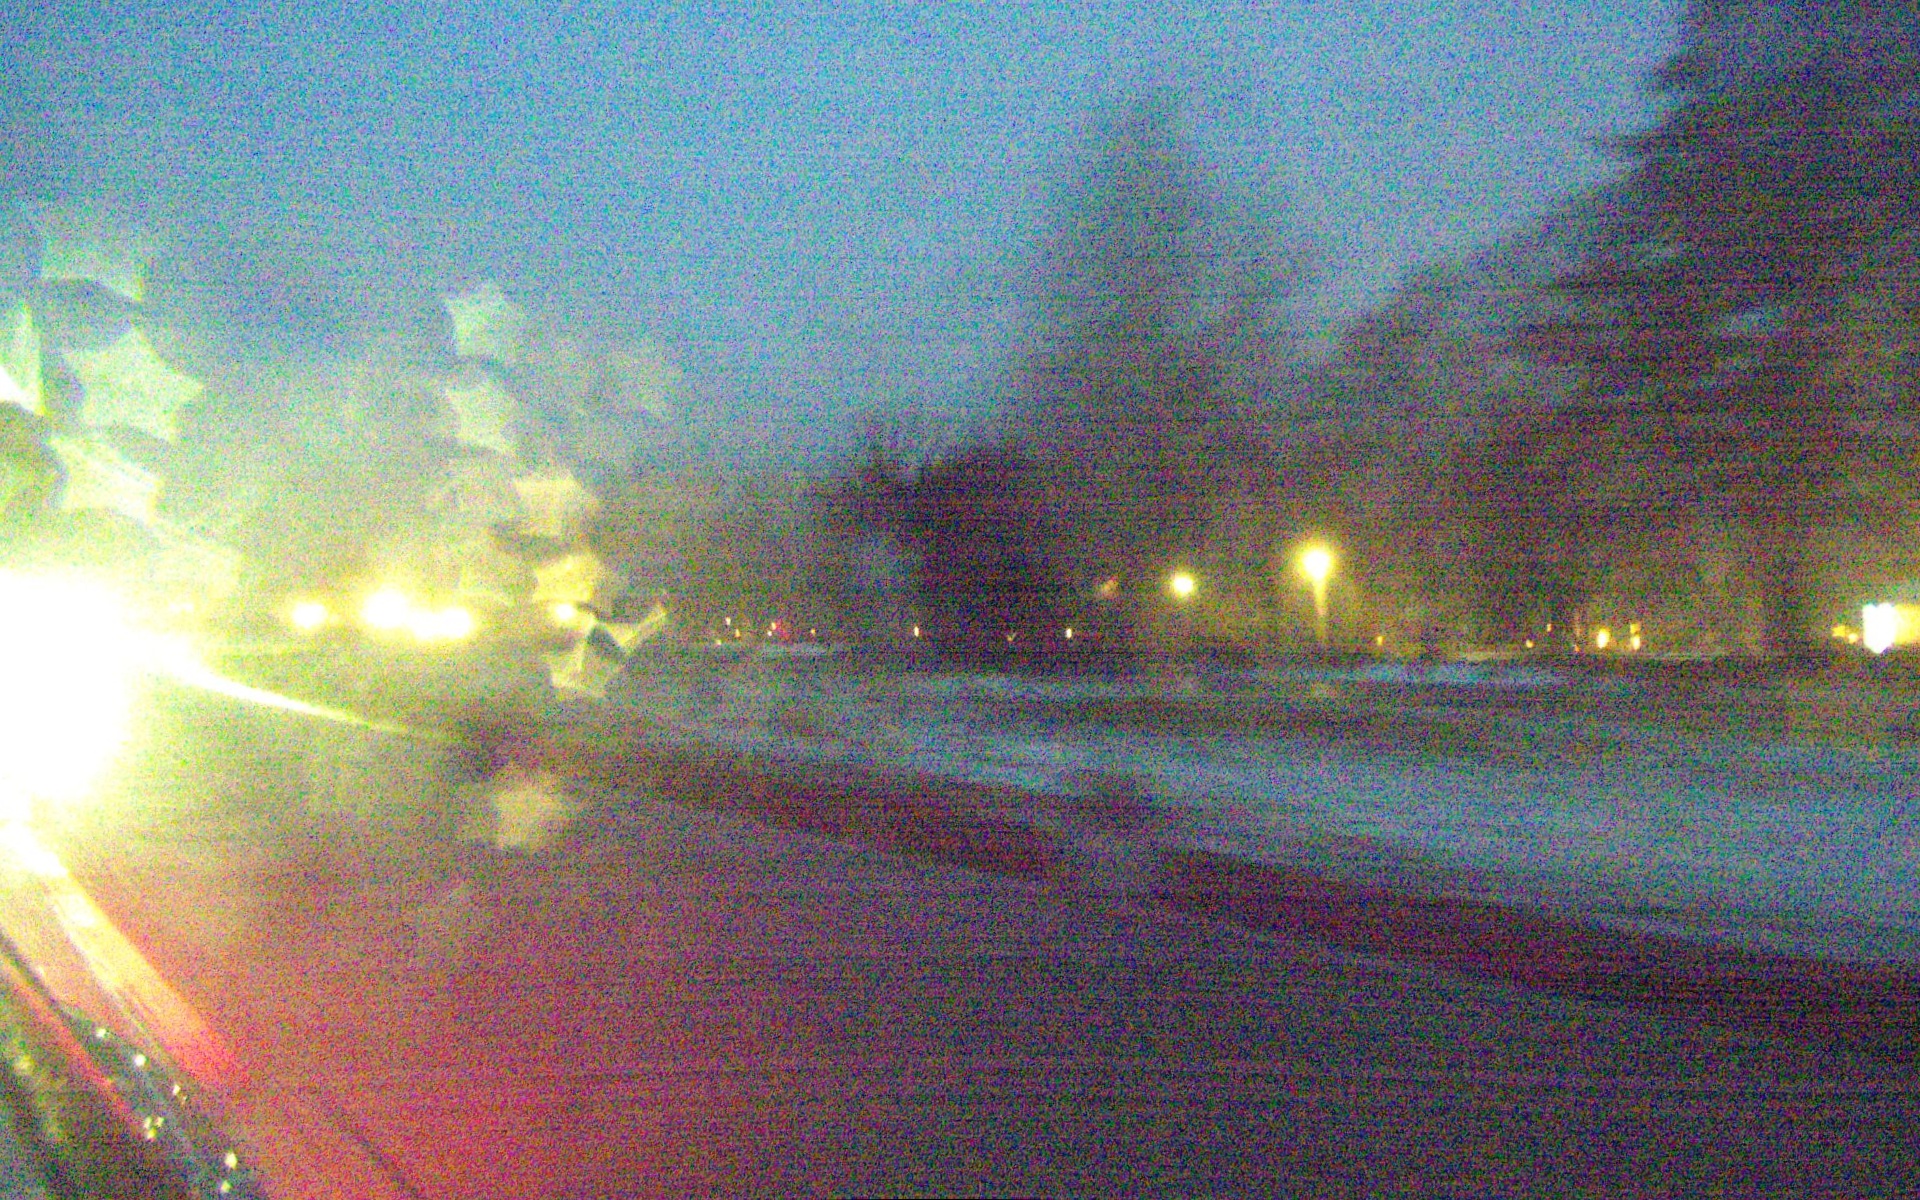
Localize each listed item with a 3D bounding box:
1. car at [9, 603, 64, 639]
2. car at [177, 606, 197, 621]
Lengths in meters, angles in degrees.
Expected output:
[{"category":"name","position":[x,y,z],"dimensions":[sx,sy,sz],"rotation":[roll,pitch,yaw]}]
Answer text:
[{"category":"car","position":[-46.773,1.035,51.308],"dimensions":[1.930,1.735,4.006],"rotation":[1,-1,-41]},{"category":"car","position":[-87.681,1.531,114.818],"dimensions":[1.712,1.554,4.010],"rotation":[-1,1,-36]}]
